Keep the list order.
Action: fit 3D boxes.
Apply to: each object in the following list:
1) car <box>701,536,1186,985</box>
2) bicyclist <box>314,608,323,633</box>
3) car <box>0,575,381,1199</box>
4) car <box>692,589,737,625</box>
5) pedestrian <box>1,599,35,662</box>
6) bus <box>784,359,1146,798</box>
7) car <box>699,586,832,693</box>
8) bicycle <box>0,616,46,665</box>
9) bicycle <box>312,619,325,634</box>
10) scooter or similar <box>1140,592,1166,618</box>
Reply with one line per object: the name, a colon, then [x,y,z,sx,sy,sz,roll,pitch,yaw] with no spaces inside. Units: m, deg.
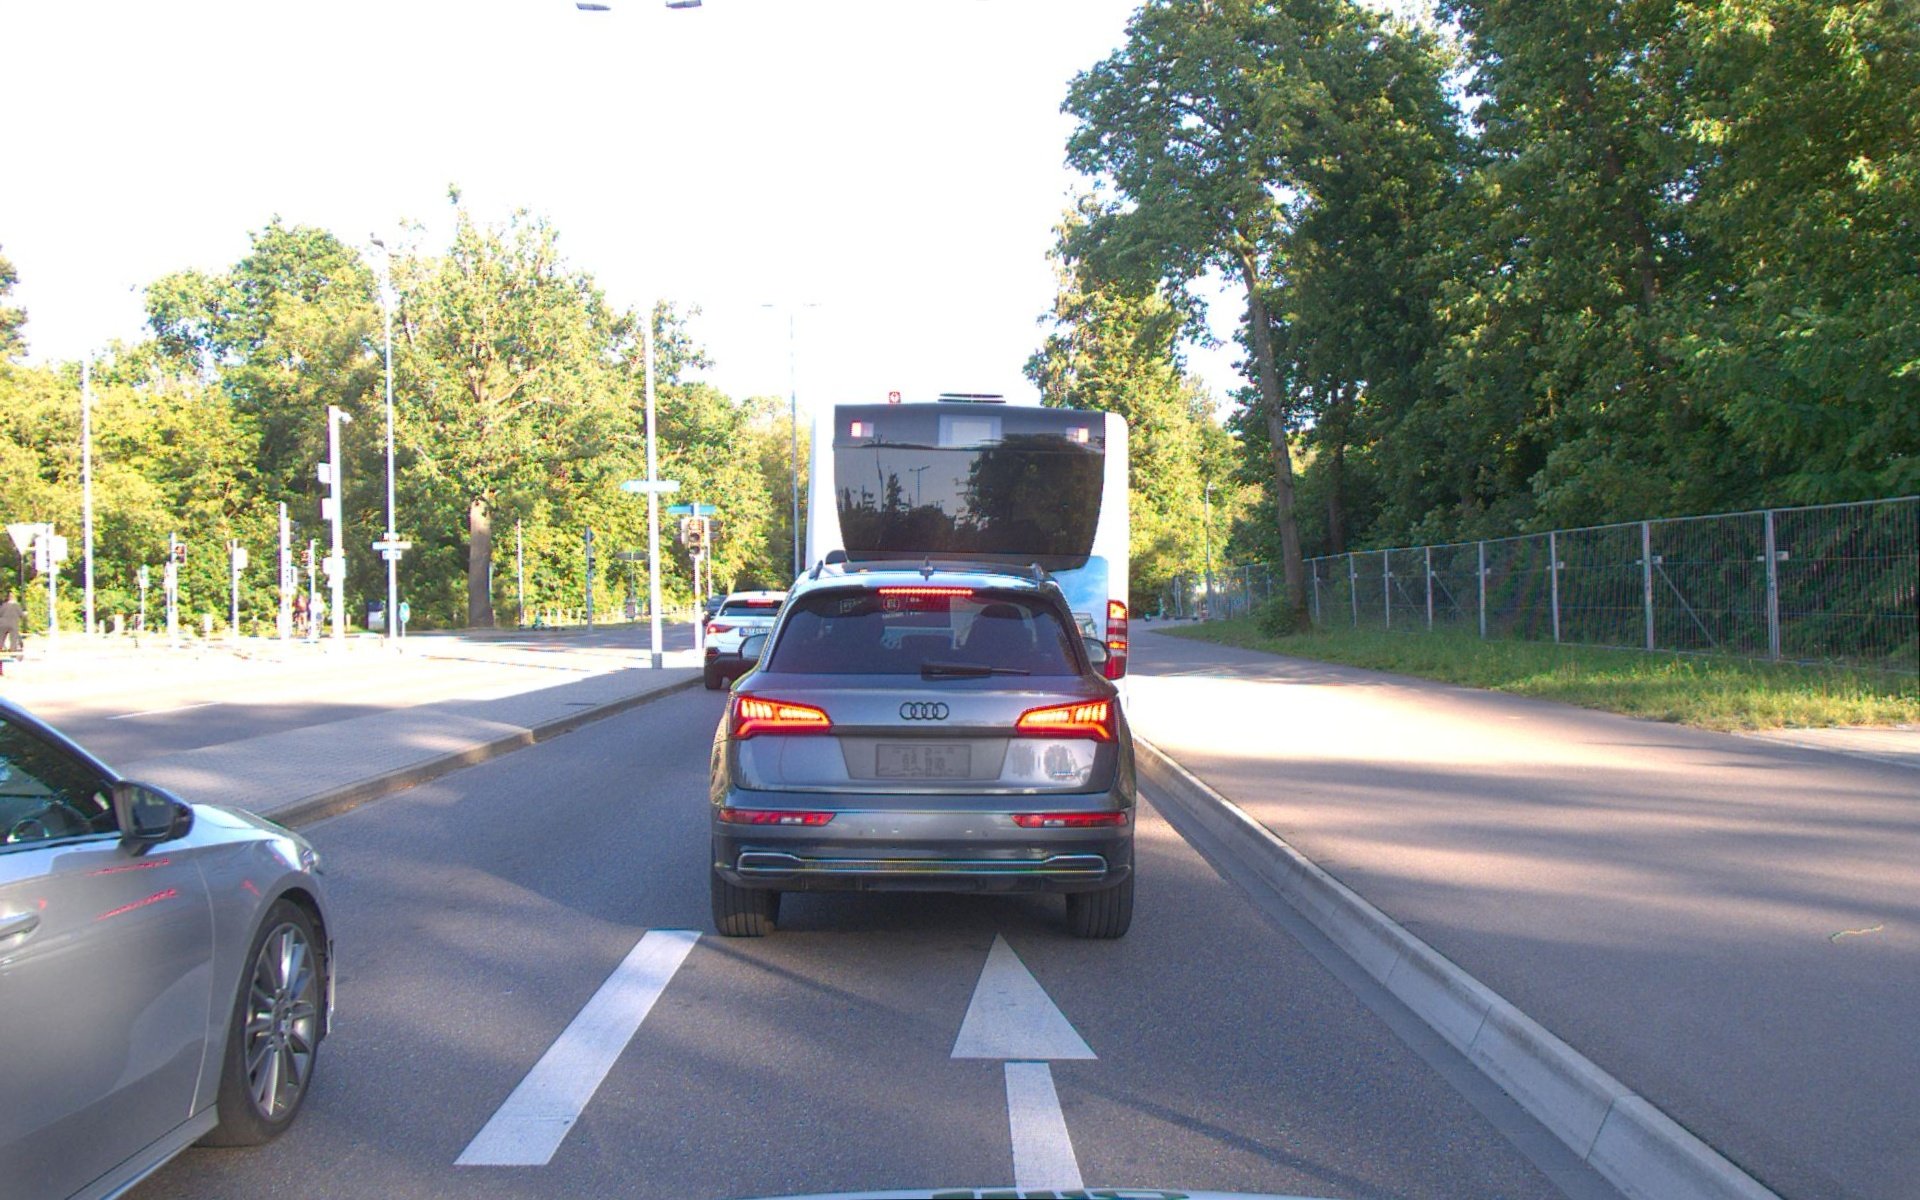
car: [-0.088,0.591,8.328,1.830,1.693,4.000,1,1,-1]
bicyclist: [-24.746,0.790,63.812,0.268,0.979,0.240,1,-1,-6]
car: [-2.586,0.694,2.901,1.749,1.469,4.276,1,1,-2]
car: [-11.988,0.338,80.868,1.955,1.691,3.995,-2,0,-6]
pedestrian: [-24.130,0.784,42.373,0.472,1.589,0.648,1,-1,-1]
bus: [0.059,-0.198,15.147,2.623,3.196,5.882,1,1,0]
car: [-3.148,0.592,27.479,1.771,1.599,4.000,1,1,-1]
bicycle: [-24.081,1.027,42.173,0.458,1.198,2.003,1,0,-1]
bicycle: [-24.753,1.025,63.812,0.261,0.592,0.838,1,0,-6]
scooter or similar: [9.129,0.252,78.130,1.158,1.195,0.659,1,0,10]
